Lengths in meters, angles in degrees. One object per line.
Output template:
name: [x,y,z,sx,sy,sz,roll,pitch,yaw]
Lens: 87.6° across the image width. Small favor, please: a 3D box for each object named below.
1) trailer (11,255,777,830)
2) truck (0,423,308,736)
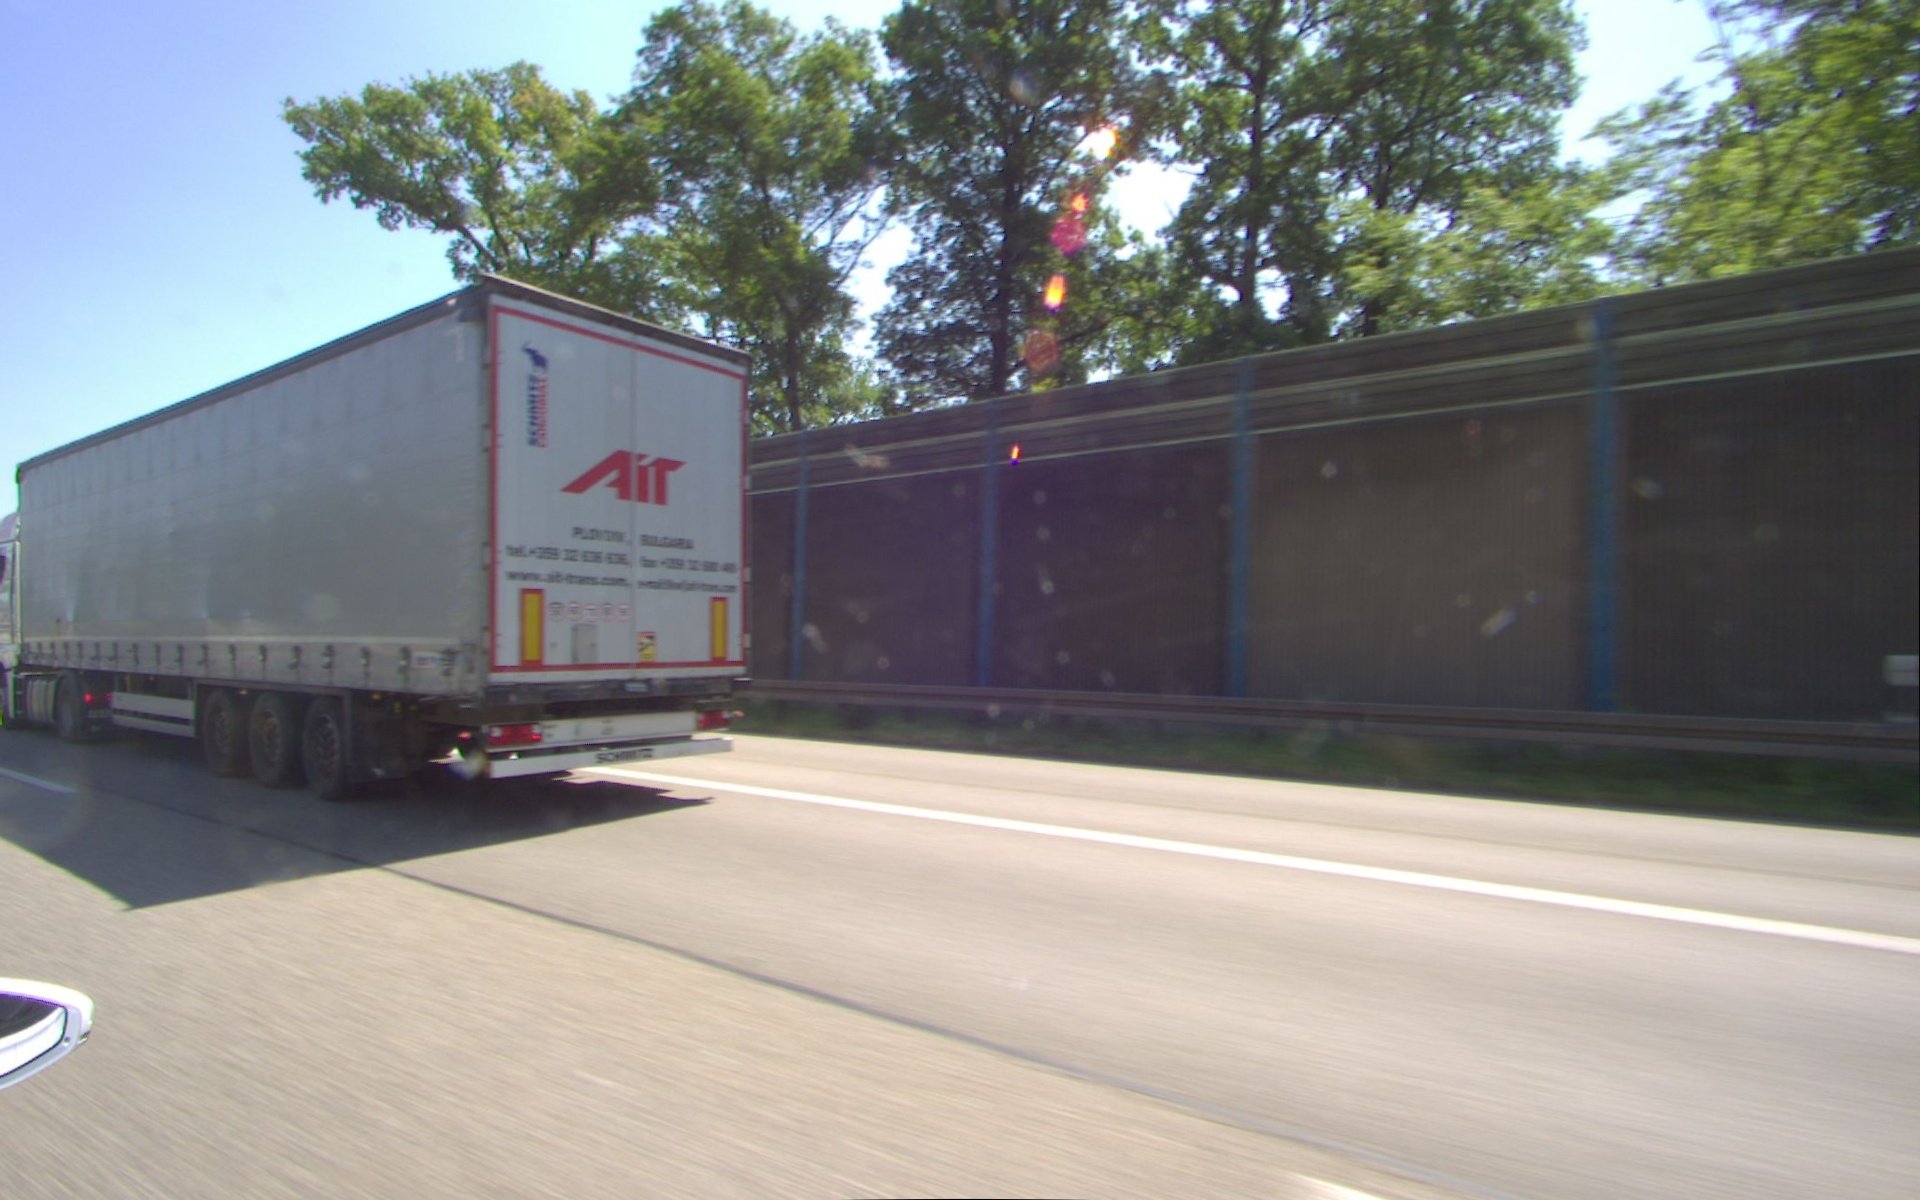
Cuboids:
trailer: [-8.051,-0.235,12.324,13.615,4.090,2.877,-1,-2,36]
truck: [-13.511,-0.176,16.365,5.908,4.199,2.877,-1,-2,36]
